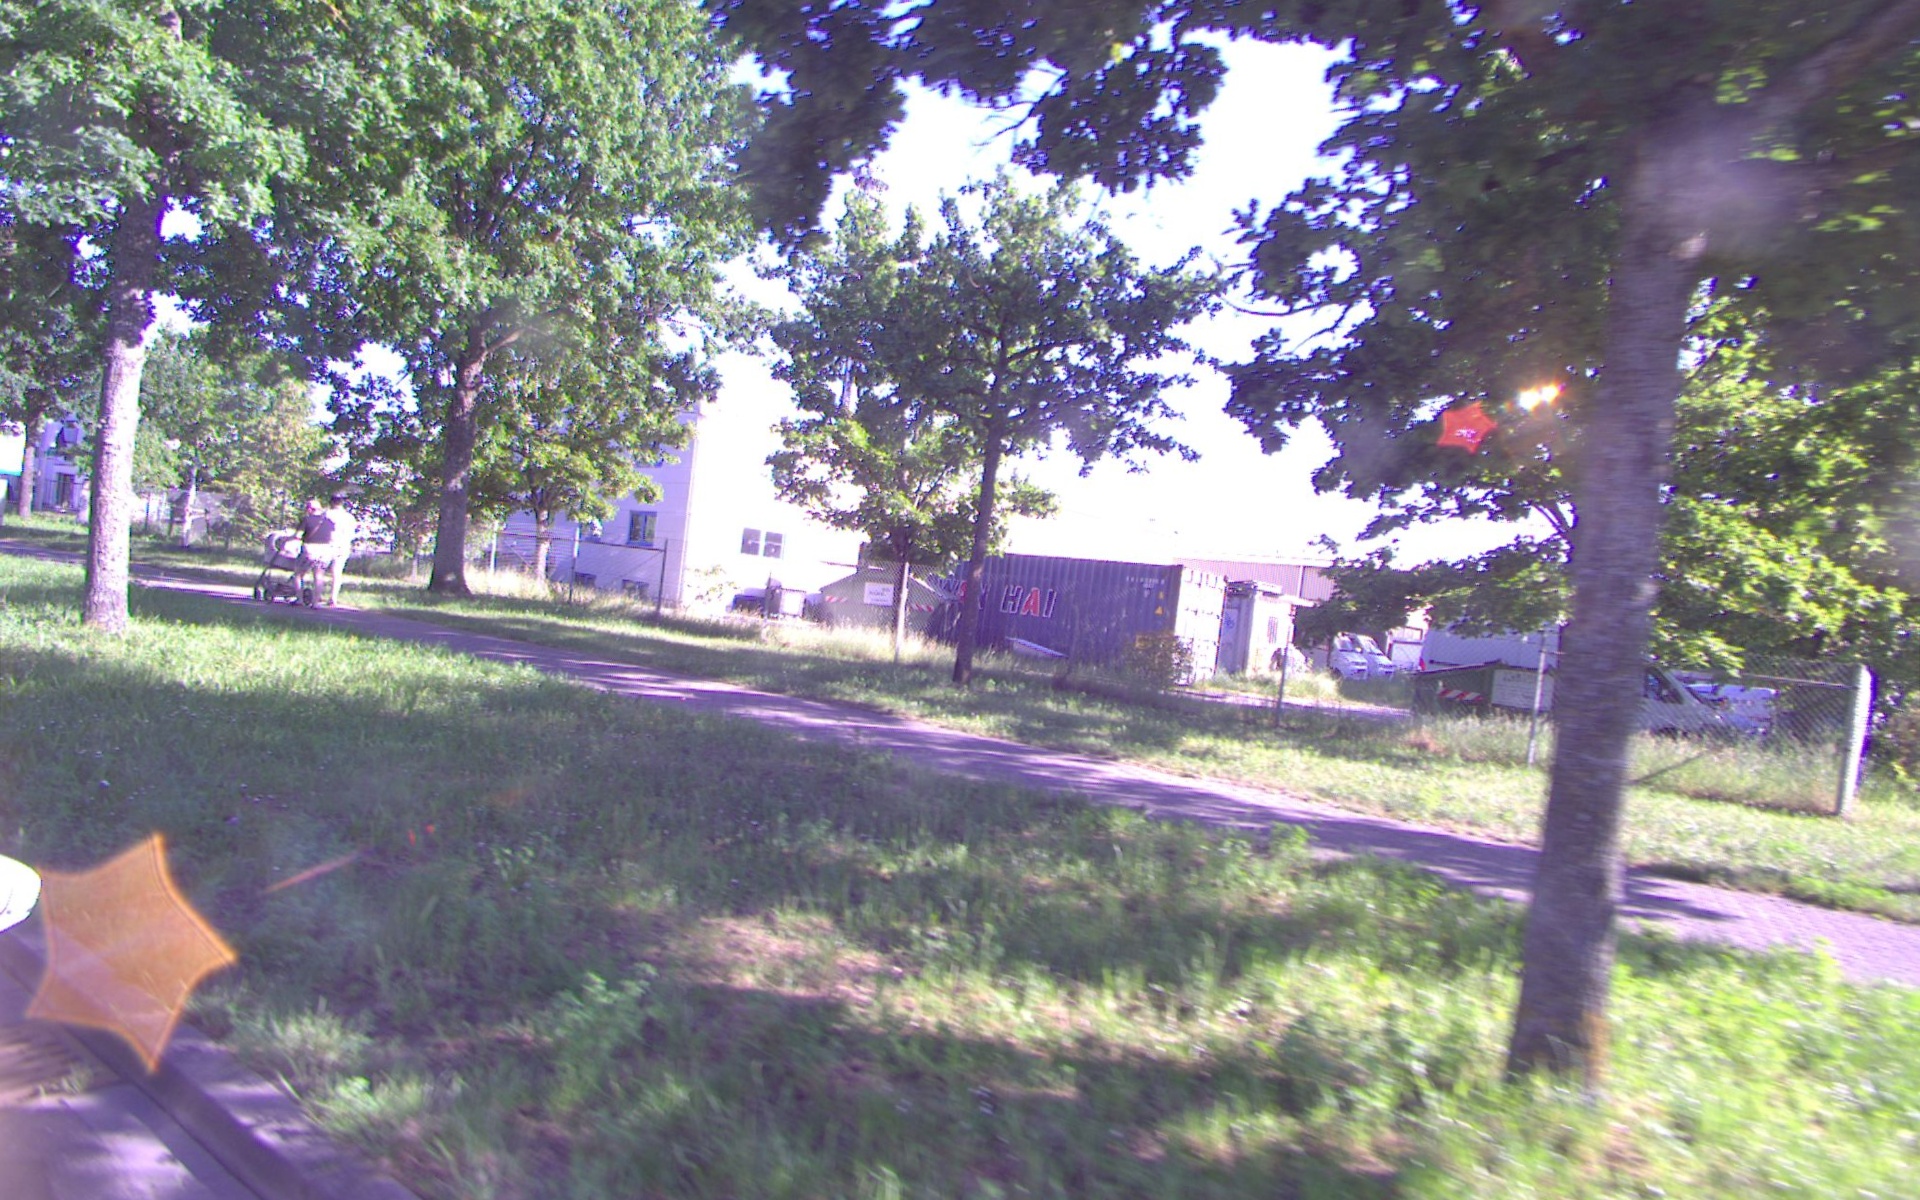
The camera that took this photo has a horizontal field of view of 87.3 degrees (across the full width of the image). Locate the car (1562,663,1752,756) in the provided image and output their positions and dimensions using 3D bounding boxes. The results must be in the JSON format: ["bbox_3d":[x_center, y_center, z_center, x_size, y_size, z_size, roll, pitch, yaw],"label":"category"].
[{"bbox_3d":[18.855,2.907,27.296,3.942,1.846,1.991,7,1,40],"label":"car"}]

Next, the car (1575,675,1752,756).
[{"bbox_3d":[20.268,3.271,29.041,3.942,1.612,1.991,7,1,40],"label":"car"}]

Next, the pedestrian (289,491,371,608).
[{"bbox_3d":[-10.176,-0.812,16.247,0.853,1.779,0.726,7,3,31],"label":"pedestrian"}]

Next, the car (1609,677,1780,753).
[{"bbox_3d":[22.191,3.424,30.484,3.942,1.612,1.991,7,1,40],"label":"car"}]

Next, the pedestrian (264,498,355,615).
[{"bbox_3d":[-9.811,-0.648,15.176,0.853,1.623,0.726,7,1,31],"label":"pedestrian"}]

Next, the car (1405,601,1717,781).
[{"bbox_3d":[11.625,1.663,19.789,4.770,2.676,2.162,7,1,32],"label":"car"}]

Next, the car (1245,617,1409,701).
[{"bbox_3d":[13.251,2.104,36.531,4.944,2.087,2.081,11,1,44],"label":"car"}]

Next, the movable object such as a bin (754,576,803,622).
[{"bbox_3d":[-6.421,-0.032,35.590,1.180,1.424,1.046,6,1,-42],"label":"movable object such as a bin"}]

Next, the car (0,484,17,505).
[{"bbox_3d":[-74.289,-8.250,76.997,3.701,1.401,1.769,7,0,26],"label":"car"}]

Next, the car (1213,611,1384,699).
[{"bbox_3d":[11.602,1.862,34.759,4.944,2.087,2.081,11,1,44],"label":"car"}]

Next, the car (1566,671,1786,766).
[{"bbox_3d":[17.641,2.892,24.931,1.825,1.660,3.959,6,1,-37],"label":"car"}]

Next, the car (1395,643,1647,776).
[{"bbox_3d":[9.840,1.844,17.774,3.537,1.685,2.007,7,1,32],"label":"car"}]

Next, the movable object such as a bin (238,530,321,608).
[{"bbox_3d":[-10.573,-0.475,15.632,0.853,1.095,0.726,7,3,31],"label":"movable object such as a bin"}]
